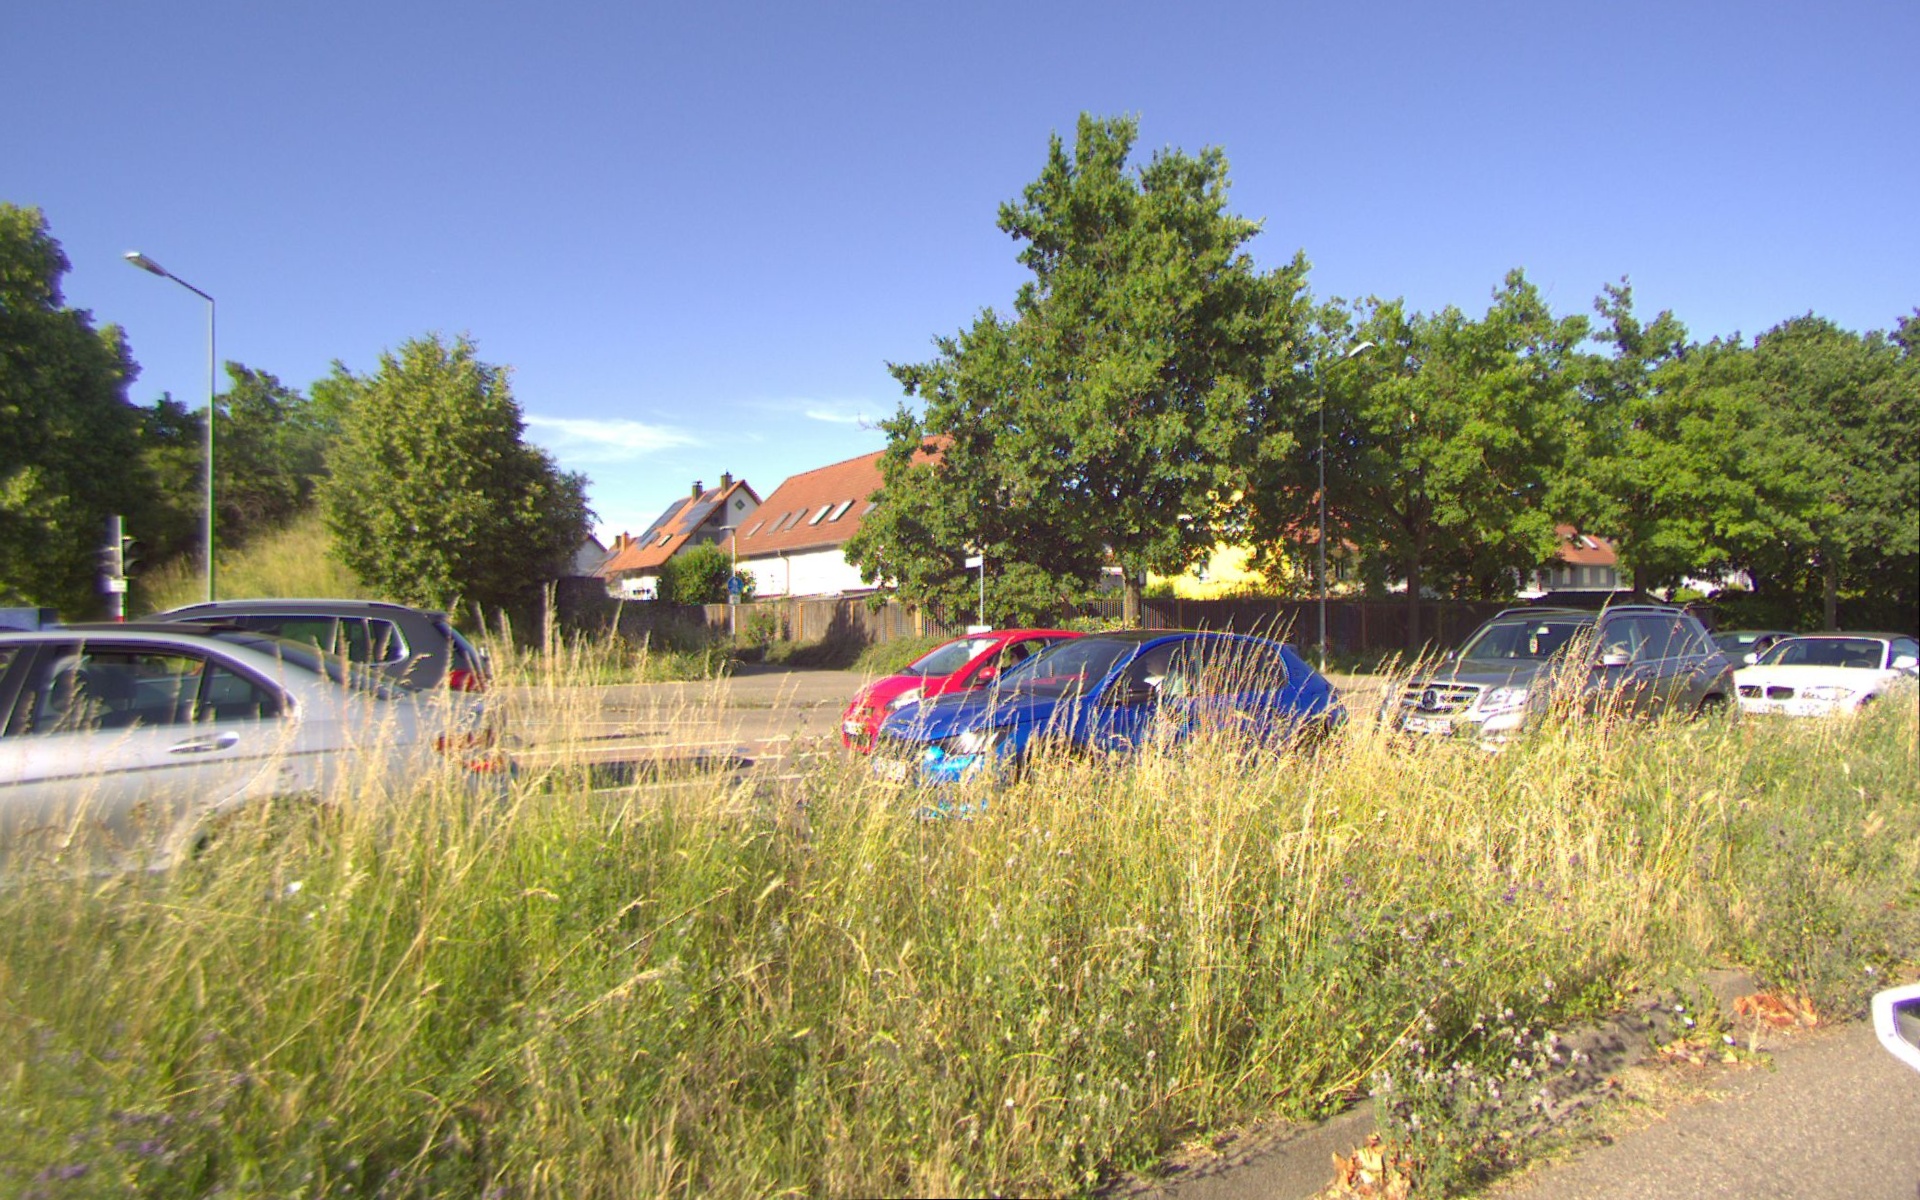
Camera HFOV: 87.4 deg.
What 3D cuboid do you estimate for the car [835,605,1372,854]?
[{"bbox_3d":[1.140,0.812,7.753,3.839,1.503,1.740,0,-1,-28],"label":"car"}]

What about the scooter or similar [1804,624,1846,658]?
[{"bbox_3d":[33.095,1.559,38.440,1.390,1.235,0.539,-1,1,-16],"label":"scooter or similar"}]

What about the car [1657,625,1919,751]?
[{"bbox_3d":[11.899,1.096,13.913,4.345,1.470,1.985,0,-1,-29],"label":"car"}]

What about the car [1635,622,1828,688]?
[{"bbox_3d":[18.001,1.254,23.452,3.939,1.449,1.708,0,-2,-20],"label":"car"}]

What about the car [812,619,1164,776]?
[{"bbox_3d":[0.339,0.978,11.322,3.666,1.503,1.639,0,-1,-28],"label":"car"}]

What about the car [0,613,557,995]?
[{"bbox_3d":[-4.387,0.835,4.747,4.473,1.526,1.786,0,-1,-28],"label":"car"}]

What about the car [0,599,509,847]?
[{"bbox_3d":[-6.124,0.852,8.064,4.473,1.665,1.986,0,-1,-28],"label":"car"}]

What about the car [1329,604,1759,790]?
[{"bbox_3d":[6.321,0.885,10.801,4.474,1.637,1.985,0,-1,-29],"label":"car"}]
